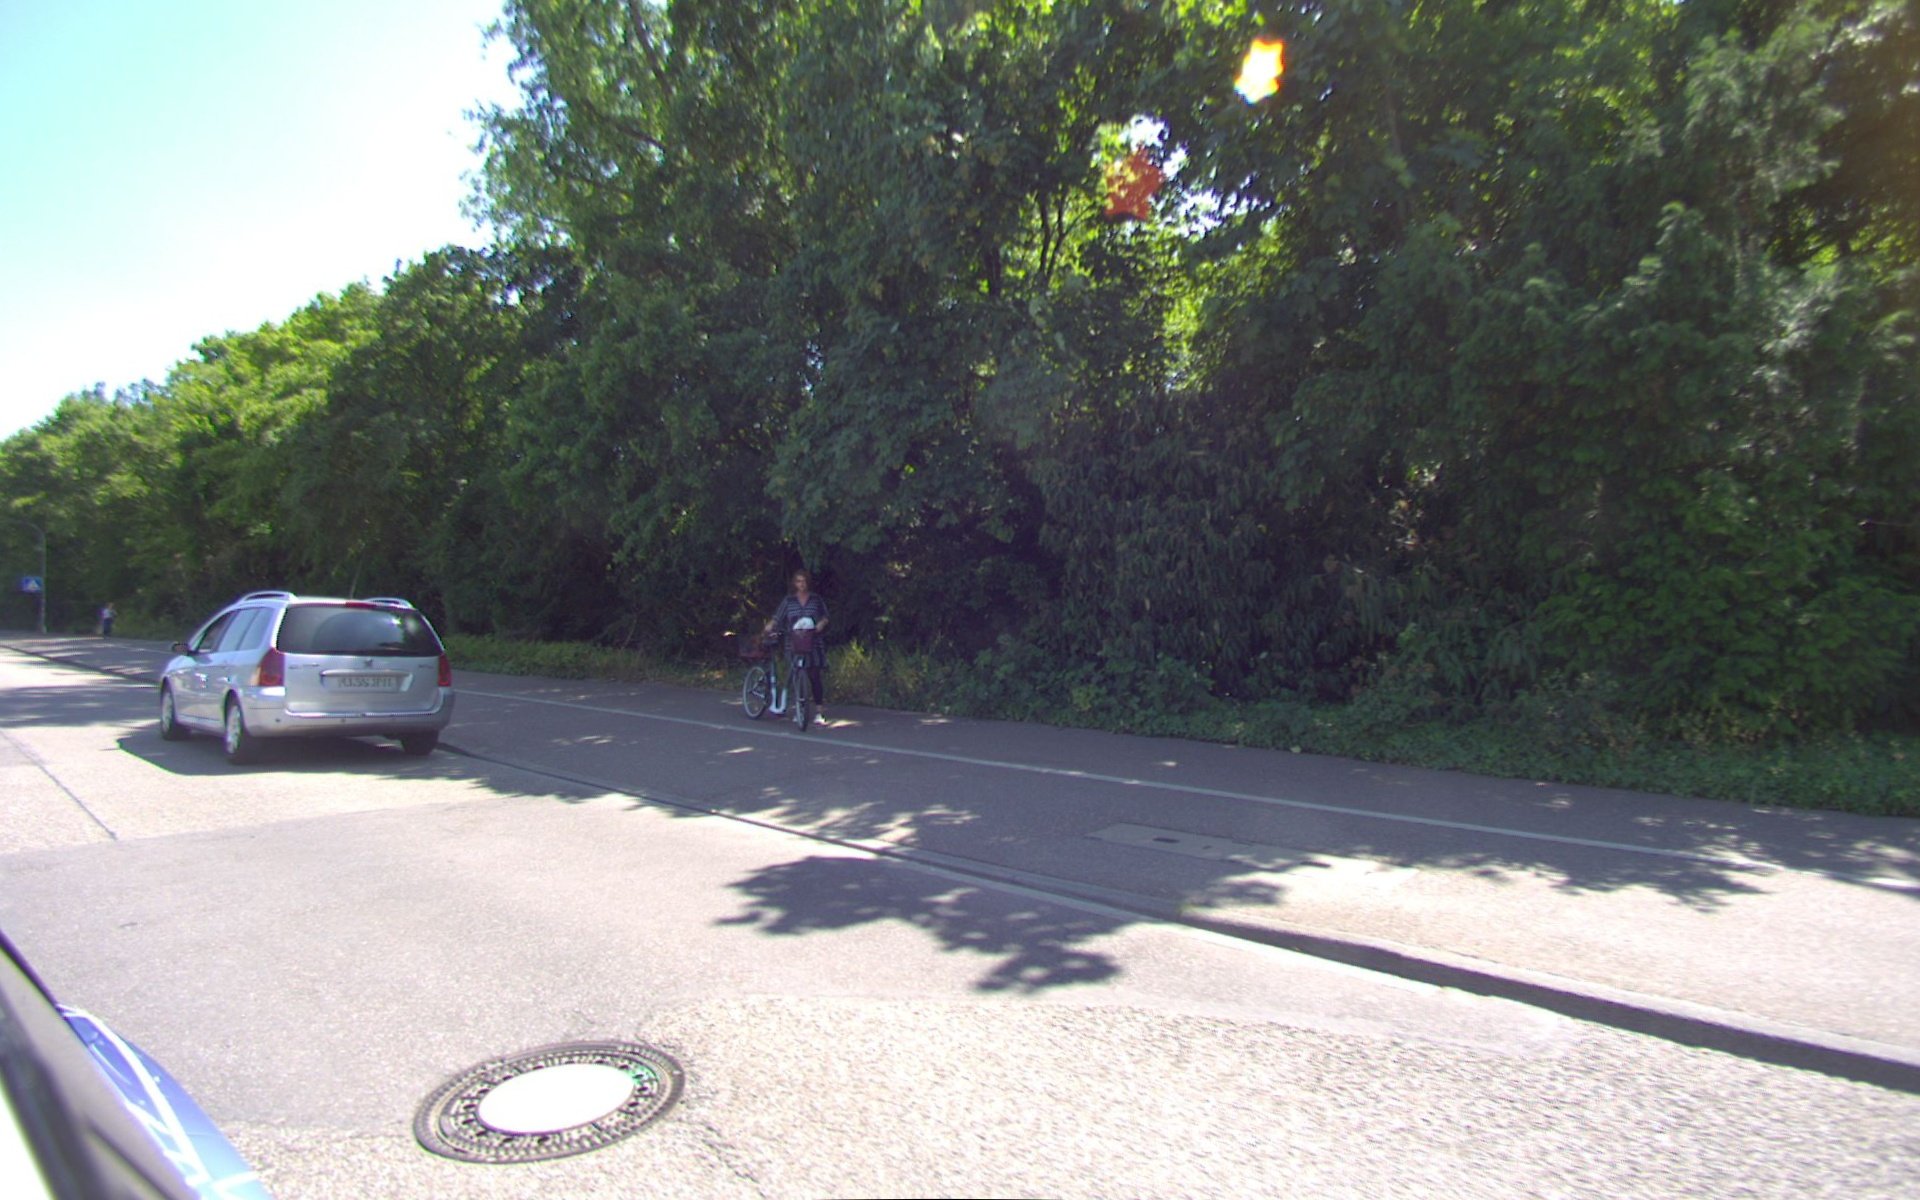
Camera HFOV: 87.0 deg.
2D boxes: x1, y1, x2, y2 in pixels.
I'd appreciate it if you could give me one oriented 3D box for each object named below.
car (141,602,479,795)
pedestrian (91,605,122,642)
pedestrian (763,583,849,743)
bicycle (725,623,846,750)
[{"bbox_3d":[-6.799,0.877,10.399,4.270,1.585,1.773,-1,-4,42],"label":"car"},{"bbox_3d":[-37.787,1.039,44.811,0.885,1.625,0.922,-1,-1,40],"label":"pedestrian"},{"bbox_3d":[-1.715,0.690,11.384,0.767,1.731,0.809,-1,-1,7],"label":"pedestrian"},{"bbox_3d":[-1.993,0.905,11.316,0.514,1.246,1.966,-1,1,-36],"label":"bicycle"}]
